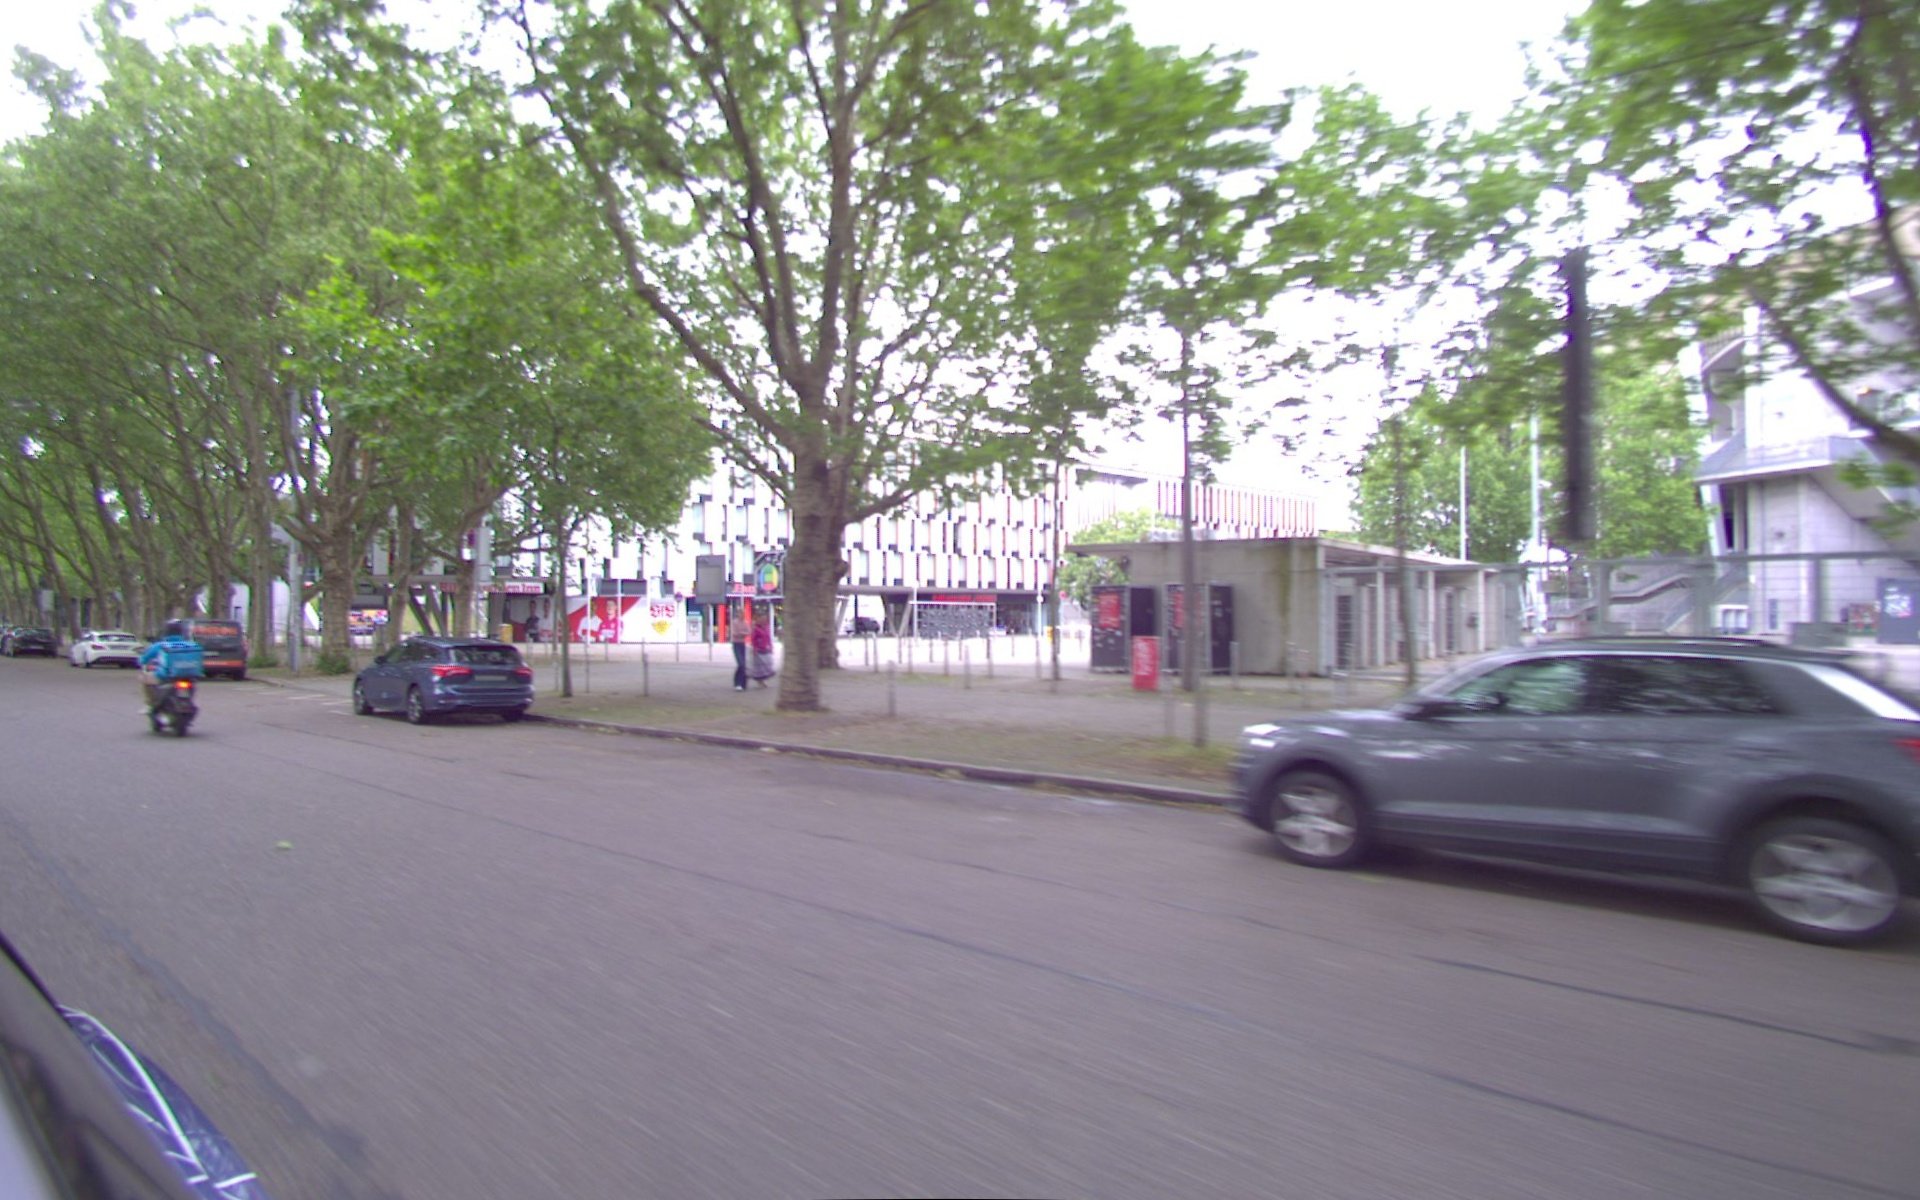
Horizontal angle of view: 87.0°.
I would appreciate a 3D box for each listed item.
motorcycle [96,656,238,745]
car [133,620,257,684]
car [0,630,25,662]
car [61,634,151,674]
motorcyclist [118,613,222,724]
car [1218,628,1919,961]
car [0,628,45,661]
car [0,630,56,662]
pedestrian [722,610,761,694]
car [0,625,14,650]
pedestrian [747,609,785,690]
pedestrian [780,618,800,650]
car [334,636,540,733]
[{"bbox_3d":[-11.325,1.374,14.409,3.048,1.087,0.865,-1,-2,38],"label":"motorcycle"},{"bbox_3d":[-22.713,1.505,29.981,4.635,1.764,1.929,-1,-3,41],"label":"car"},{"bbox_3d":[-54.956,2.586,57.495,4.641,1.731,1.851,-1,-5,38],"label":"car"},{"bbox_3d":[-33.085,2.069,39.152,4.749,1.413,1.884,-1,-5,41],"label":"car"},{"bbox_3d":[-11.165,0.931,14.292,1.263,1.491,0.862,-1,-2,37],"label":"motorcyclist"},{"bbox_3d":[3.954,0.959,6.372,4.149,1.538,1.858,-2,-3,41],"label":"car"},{"bbox_3d":[-50.862,2.408,54.404,4.927,1.656,1.916,-2,-5,42],"label":"car"},{"bbox_3d":[-46.713,2.282,50.509,4.440,1.506,1.814,-2,-5,41],"label":"car"},{"bbox_3d":[-4.748,1.119,21.974,0.569,1.783,0.769,1,-2,-34],"label":"pedestrian"},{"bbox_3d":[-59.255,2.250,61.676,4.228,1.467,1.814,-2,-5,41],"label":"car"},{"bbox_3d":[-4.291,1.079,22.365,0.567,1.755,0.769,1,-2,-34],"label":"pedestrian"},{"bbox_3d":[-9.119,1.802,54.239,0.808,1.704,0.716,-2,-2,44],"label":"pedestrian"},{"bbox_3d":[-9.405,1.401,18.026,4.572,1.497,1.706,-2,-2,41],"label":"car"}]
